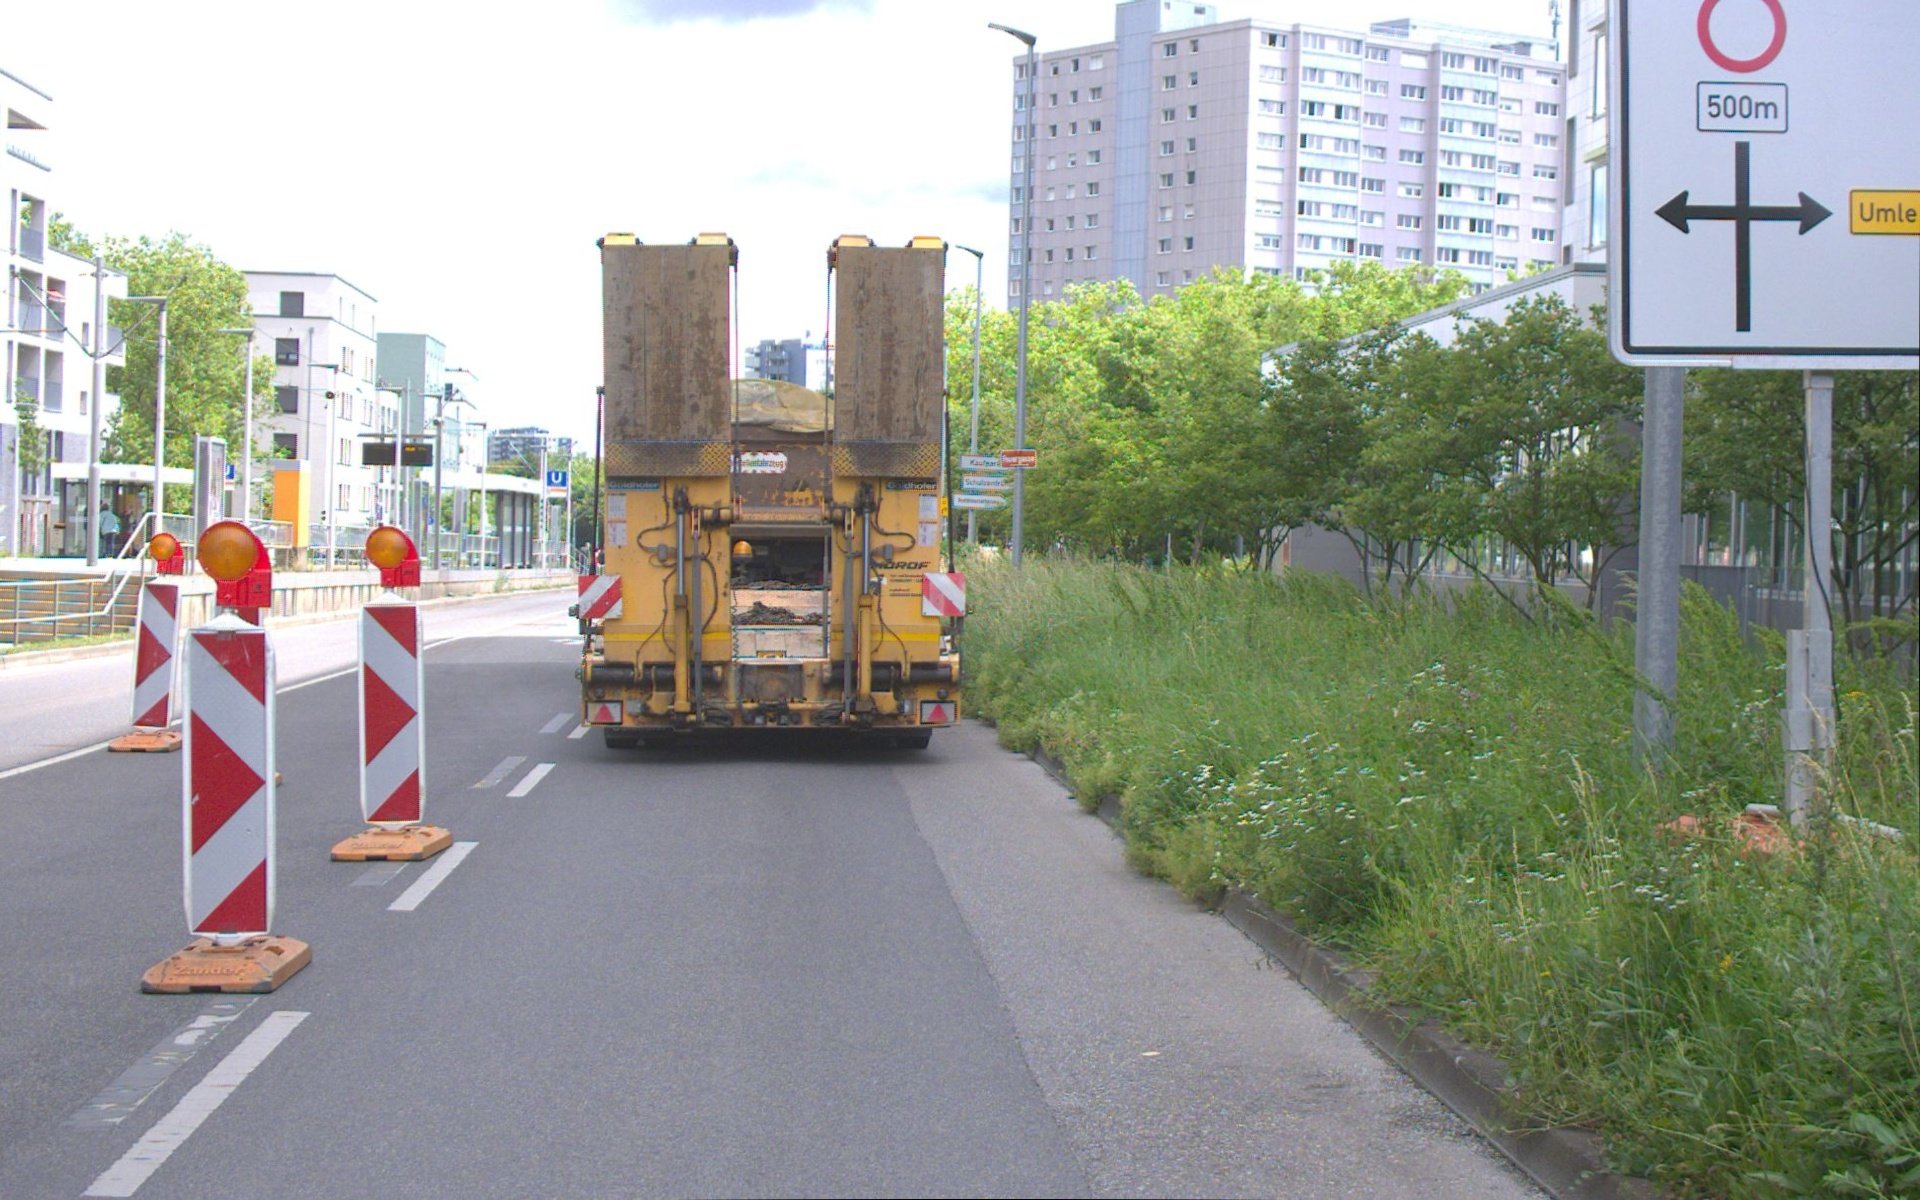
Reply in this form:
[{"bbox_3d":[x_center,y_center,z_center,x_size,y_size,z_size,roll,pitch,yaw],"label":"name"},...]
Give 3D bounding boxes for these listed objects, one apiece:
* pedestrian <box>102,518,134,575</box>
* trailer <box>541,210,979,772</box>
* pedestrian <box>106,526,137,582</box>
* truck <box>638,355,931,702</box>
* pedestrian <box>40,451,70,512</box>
[{"bbox_3d":[-24.151,-1.532,98.627,0.488,1.591,0.676,2,0,41],"label":"pedestrian"},{"bbox_3d":[-1.489,-0.756,27.862,2.729,3.546,11.254,2,0,-2],"label":"trailer"},{"bbox_3d":[-24.261,-1.320,99.455,0.488,1.591,0.676,2,0,33],"label":"pedestrian"},{"bbox_3d":[-1.868,-0.736,37.659,2.753,3.302,8.352,2,0,-2],"label":"truck"},{"bbox_3d":[-25.688,-3.366,97.597,0.487,1.719,0.677,3,-1,-42],"label":"pedestrian"}]
